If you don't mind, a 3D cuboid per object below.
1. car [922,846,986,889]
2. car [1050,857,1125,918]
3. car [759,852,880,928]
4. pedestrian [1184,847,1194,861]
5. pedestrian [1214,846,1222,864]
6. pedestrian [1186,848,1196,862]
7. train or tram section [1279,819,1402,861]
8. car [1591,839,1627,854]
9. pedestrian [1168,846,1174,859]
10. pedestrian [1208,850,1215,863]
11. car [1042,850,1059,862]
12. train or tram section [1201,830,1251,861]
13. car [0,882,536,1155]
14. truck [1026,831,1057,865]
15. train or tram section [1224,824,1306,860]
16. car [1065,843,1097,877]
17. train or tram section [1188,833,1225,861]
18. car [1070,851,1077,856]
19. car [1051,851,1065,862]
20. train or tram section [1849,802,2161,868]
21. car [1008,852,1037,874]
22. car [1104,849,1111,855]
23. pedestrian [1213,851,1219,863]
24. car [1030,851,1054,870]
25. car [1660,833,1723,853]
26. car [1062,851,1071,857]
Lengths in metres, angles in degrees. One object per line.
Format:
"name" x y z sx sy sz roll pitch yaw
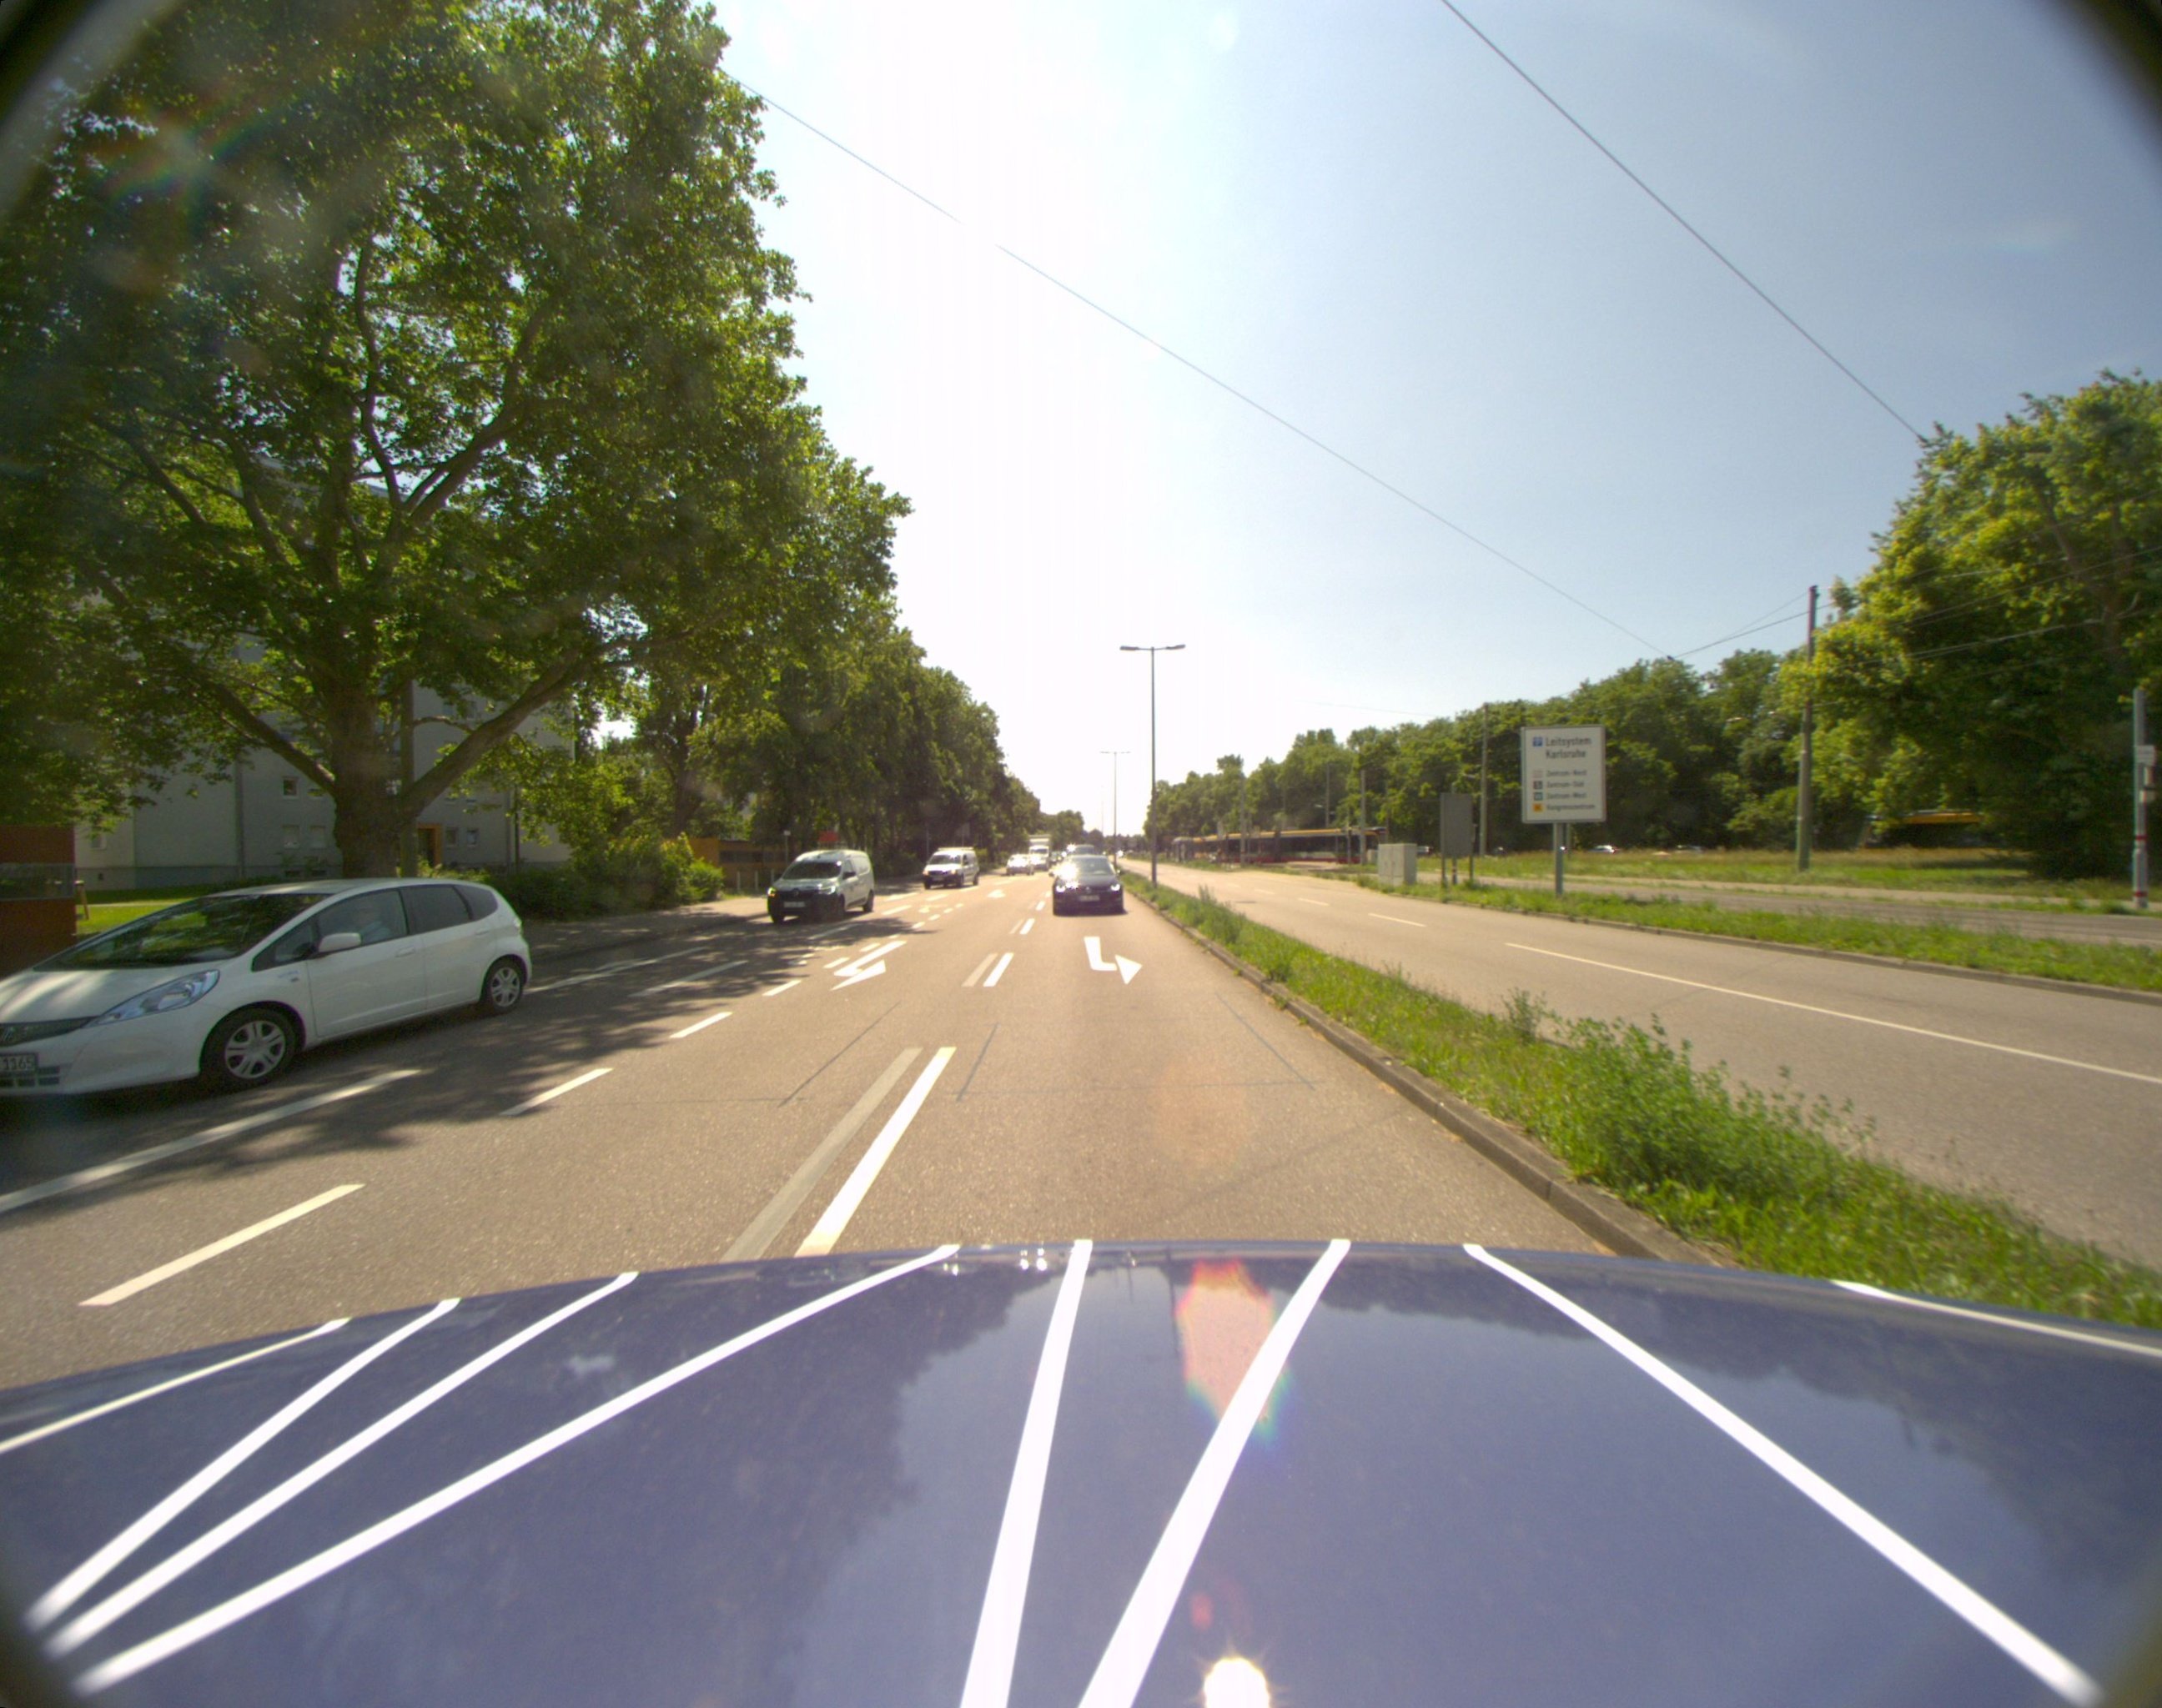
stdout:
"car" -6.016 0.583 36.614 1.809 1.845 5.083 -2 0 4
"car" 0.178 0.817 20.181 1.746 1.382 3.887 -2 1 1
"car" -6.780 0.853 20.246 1.714 1.737 4.426 -2 0 -1
"pedestrian" 12.161 0.004 85.400 0.933 1.537 0.985 -2 1 -2
"pedestrian" 12.363 0.071 68.522 0.536 1.556 0.582 -2 1 -2
"pedestrian" 12.226 0.143 84.375 0.837 1.499 0.879 -2 1 -2
"train or tram section" 24.544 -1.183 72.967 3.058 3.603 12.425 -3 1 -28
"car" 58.218 -0.850 83.773 1.389 1.587 3.068 -2 1 -13
"pedestrian" 12.386 -0.203 104.410 0.633 1.781 0.776 -2 1 -2
"pedestrian" 11.981 0.197 69.760 0.582 1.182 0.536 -2 1 -1
"car" -3.532 0.217 87.457 1.746 1.382 3.887 -1 1 1
"train or tram section" 18.179 -1.047 96.339 3.052 3.603 13.893 -2 0 -2
"car" -6.955 1.100 6.548 1.725 1.480 3.877 -2 0 -1
"truck" -3.888 -0.587 76.109 2.490 3.277 6.605 -1 1 2
"train or tram section" 20.015 -1.169 83.836 3.055 3.603 12.435 -2 0 -16
"car" 0.016 0.318 43.919 1.746 1.840 3.887 -1 1 1
"train or tram section" 18.036 -1.024 109.993 3.051 3.745 13.260 -2 0 0
"car" -2.012 -0.168 208.124 1.745 1.382 3.888 -1 1 4
"car" -3.070 0.344 102.037 1.618 1.373 4.114 -2 0 1
"train or tram section" 55.332 -0.988 45.310 3.052 3.446 13.230 -3 1 -41
"car" -4.153 0.583 54.077 1.626 1.433 3.498 -2 0 2
"car" 6.988 -0.472 201.198 1.773 1.496 3.720 -1 0 3
"pedestrian" 12.252 0.300 69.014 0.384 1.052 0.377 -2 1 -2
"car" -3.252 0.507 63.785 1.618 1.373 4.113 -2 2 1
"car" 56.186 -1.024 70.001 2.001 1.718 3.993 -2 0 -19
"car" -3.514 0.021 187.190 1.745 1.382 3.888 -1 1 4
